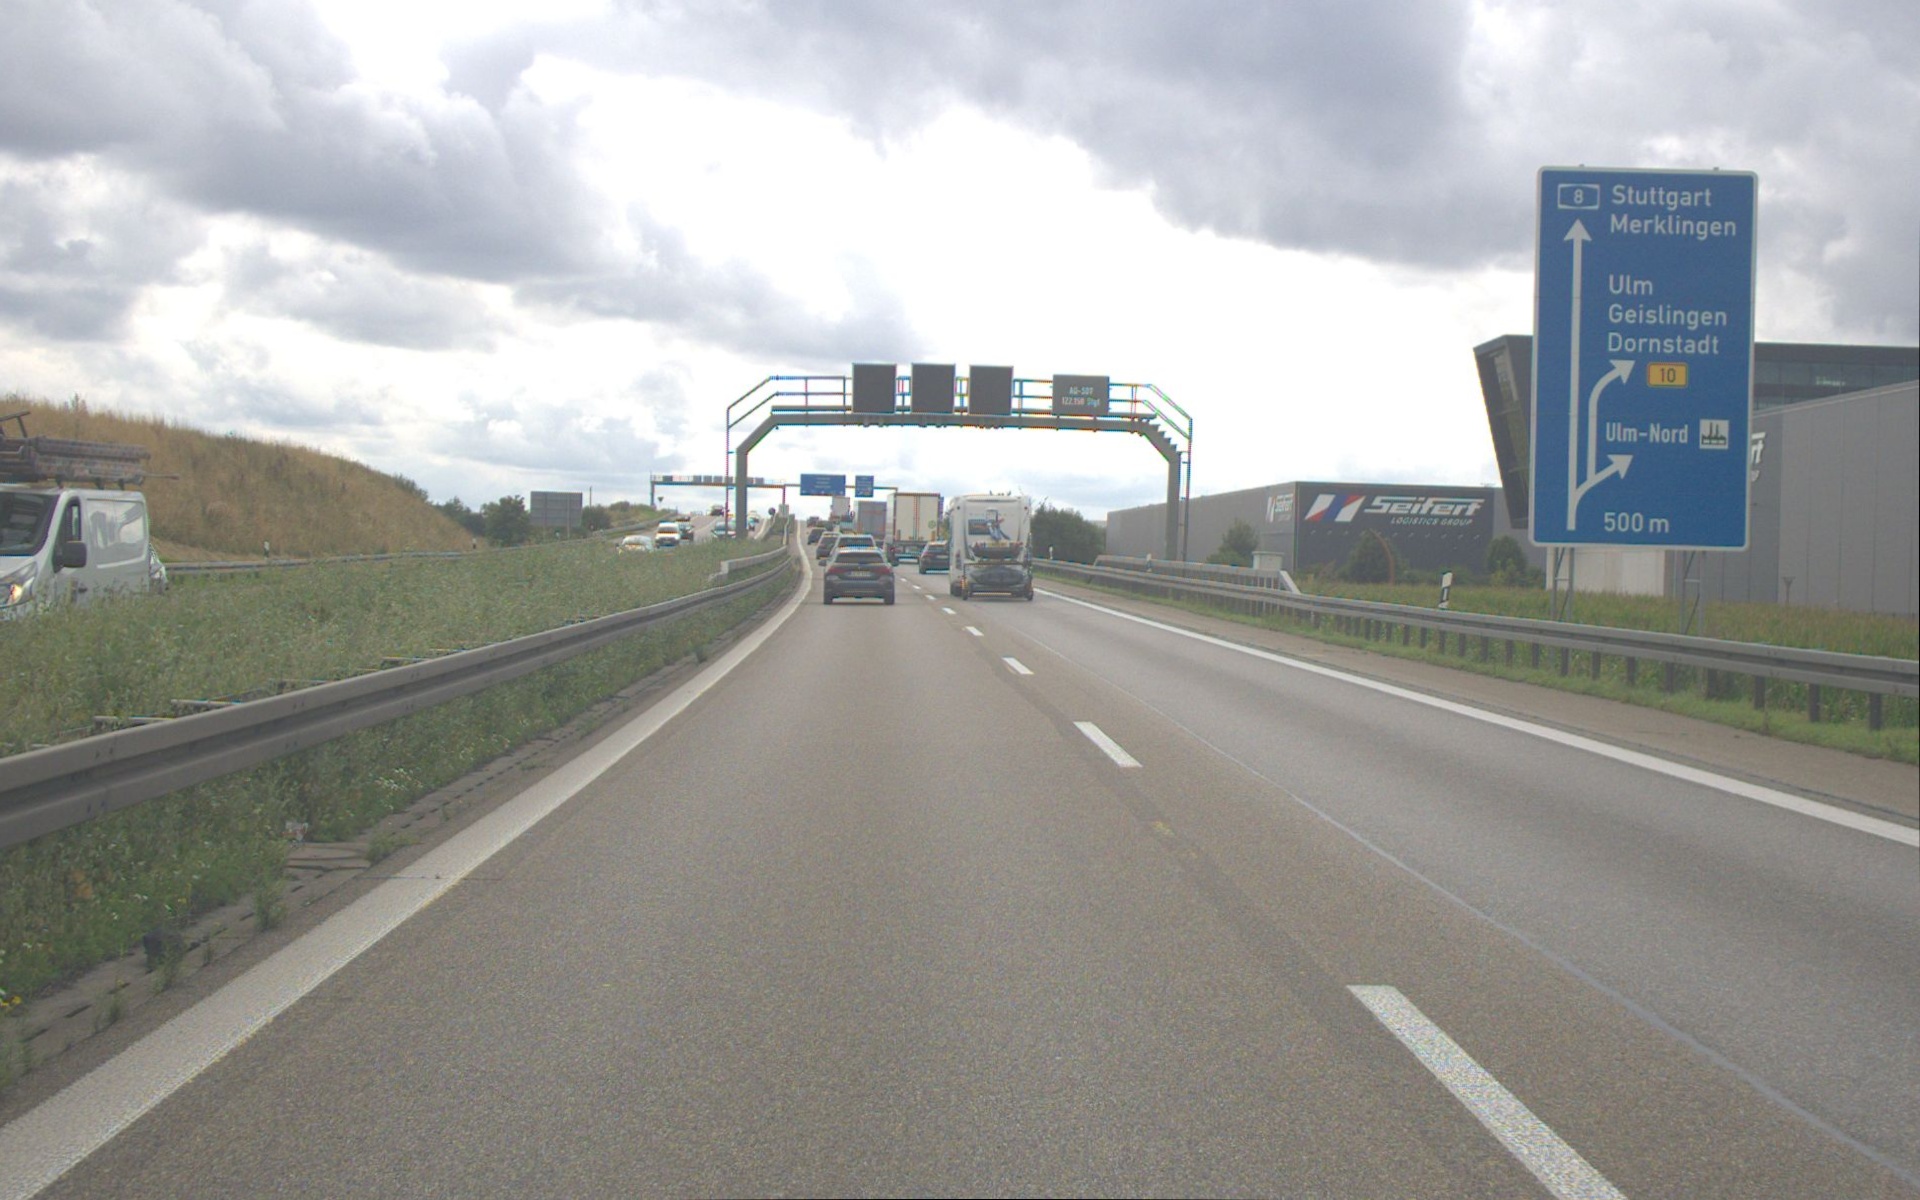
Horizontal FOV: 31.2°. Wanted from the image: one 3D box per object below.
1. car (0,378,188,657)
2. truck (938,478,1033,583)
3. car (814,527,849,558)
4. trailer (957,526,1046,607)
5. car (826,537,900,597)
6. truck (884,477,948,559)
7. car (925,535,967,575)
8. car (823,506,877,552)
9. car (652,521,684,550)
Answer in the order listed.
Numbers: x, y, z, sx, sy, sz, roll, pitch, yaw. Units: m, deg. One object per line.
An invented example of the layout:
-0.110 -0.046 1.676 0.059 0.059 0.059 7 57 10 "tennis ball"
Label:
-8.757 -0.745 31.846 1.993 2.340 5.871 1 1 -2 "car"
0.713 -2.027 101.211 2.482 2.940 5.815 1 1 -2 "truck"
-7.766 -3.473 207.774 1.943 1.769 3.696 1 1 0 "car"
1.106 -0.914 94.014 2.338 2.129 4.000 1 1 0 "trailer"
-2.447 -0.848 87.464 1.746 1.448 4.000 1 1 0 "car"
-2.561 -4.630 196.836 3.339 4.518 8.018 1 0 -2 "truck"
-0.644 -1.984 152.111 1.801 1.679 4.000 1 1 -1 "car"
-4.226 -2.731 132.754 1.945 1.679 4.000 1 1 0 "car"
-20.829 -4.595 245.268 1.993 2.007 4.708 1 1 -2 "car"
